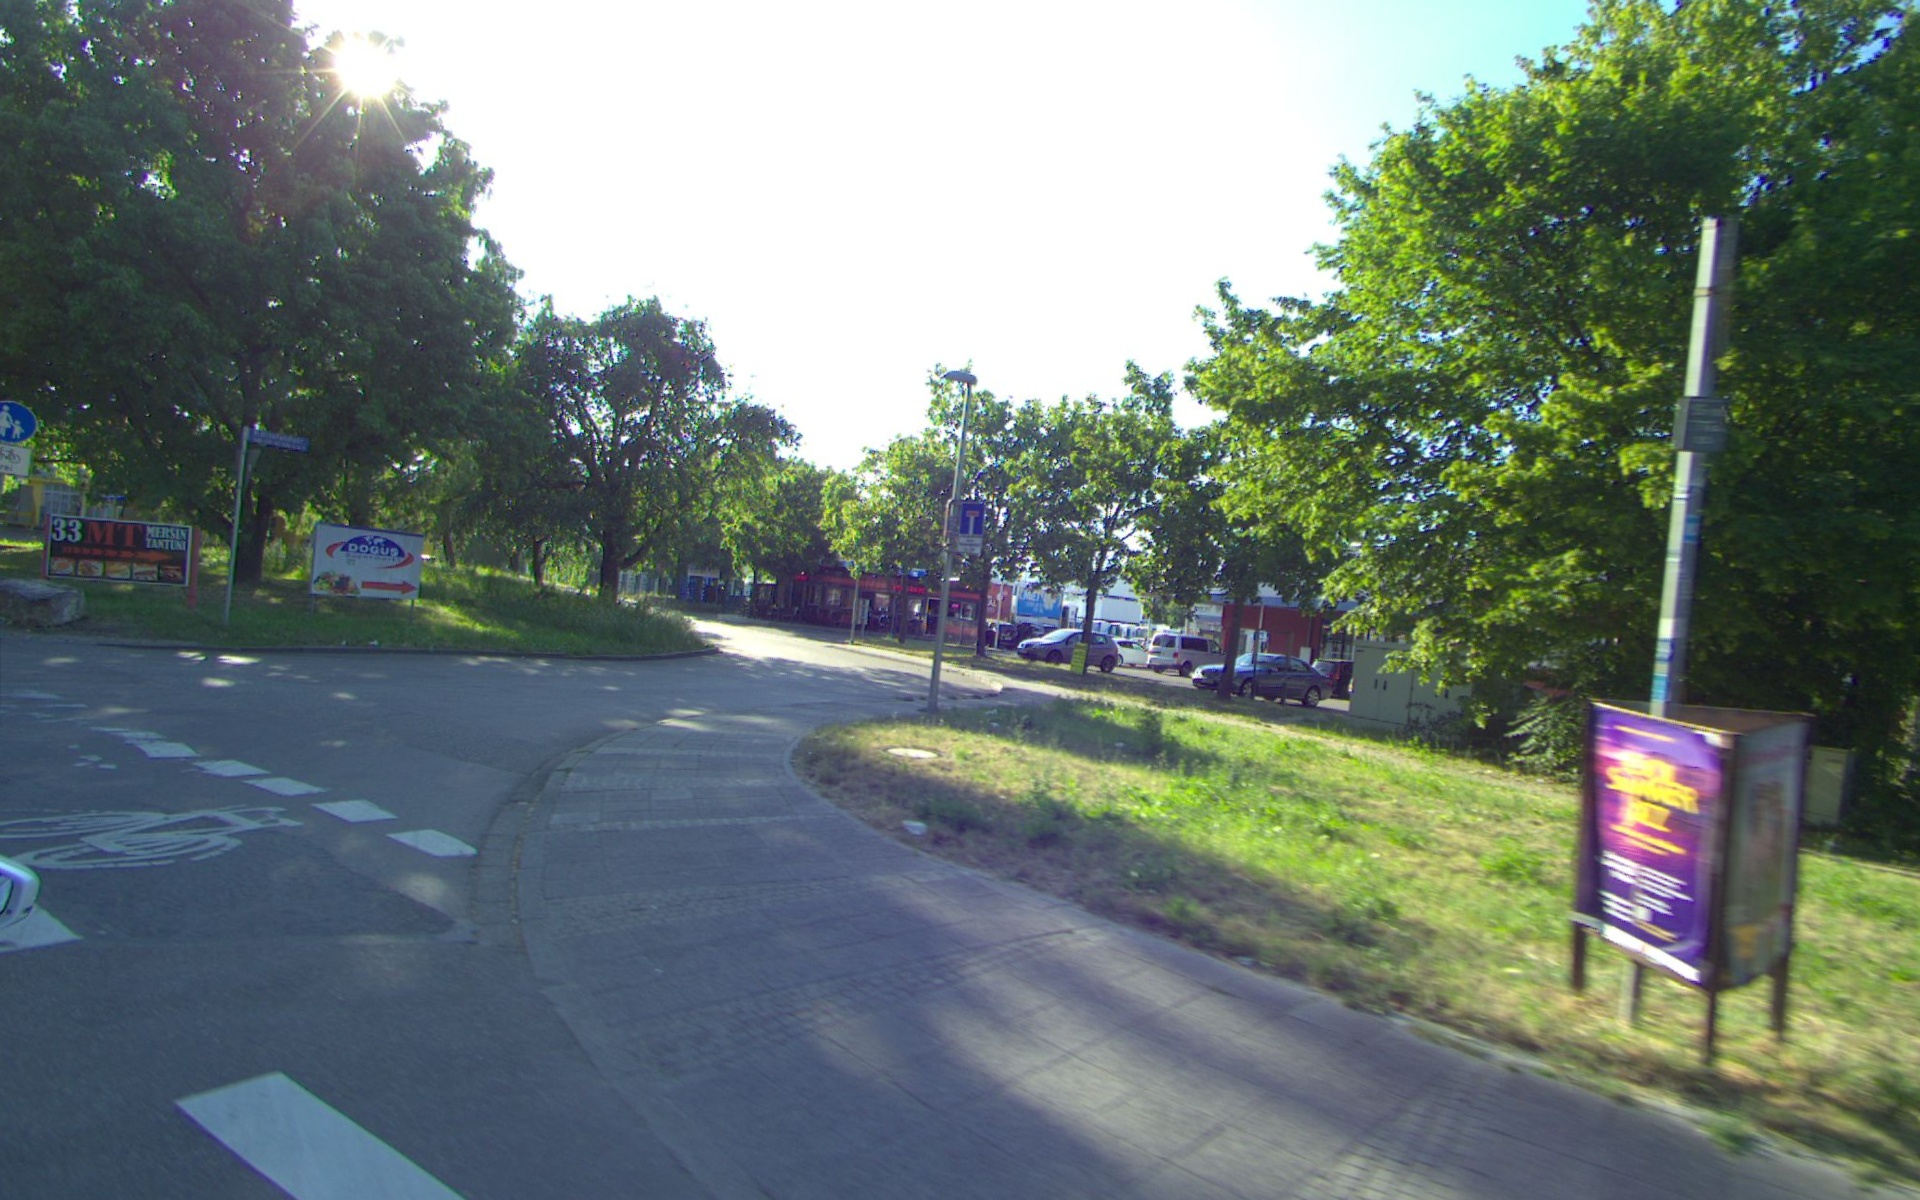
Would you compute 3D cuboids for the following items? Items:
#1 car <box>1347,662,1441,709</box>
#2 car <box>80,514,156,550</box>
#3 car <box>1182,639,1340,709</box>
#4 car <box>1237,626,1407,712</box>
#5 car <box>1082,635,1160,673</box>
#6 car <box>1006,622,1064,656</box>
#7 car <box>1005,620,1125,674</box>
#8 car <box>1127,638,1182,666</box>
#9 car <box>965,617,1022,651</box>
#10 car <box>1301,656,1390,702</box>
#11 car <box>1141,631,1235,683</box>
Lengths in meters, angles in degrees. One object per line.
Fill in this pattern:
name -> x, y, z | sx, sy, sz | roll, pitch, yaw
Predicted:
car -> 17.486, 3.458, 40.496 | 3.518, 1.442, 1.672 | 9, -2, -32
car -> -51.315, -4.147, 61.297 | 4.320, 1.750, 1.816 | 5, 0, 25
car -> 9.013, 2.222, 30.032 | 4.620, 1.492, 1.775 | 9, -2, -31
car -> 9.550, 1.838, 26.414 | 4.397, 1.841, 1.693 | 6, 0, -31
car -> 8.643, 2.897, 53.952 | 3.906, 1.498, 1.672 | 9, -2, -32
car -> 4.668, 2.409, 62.870 | 1.682, 1.708, 3.840 | 8, -2, -27
car -> 4.010, 1.782, 38.204 | 4.151, 1.492, 1.776 | 9, -2, -29
car -> 13.216, 3.536, 68.544 | 1.683, 1.479, 3.624 | 8, -2, -27
car -> 1.998, 2.066, 61.610 | 1.682, 1.708, 3.840 | 8, -2, -27
car -> 16.559, 3.385, 43.218 | 3.518, 1.519, 1.672 | 9, -2, -32
car -> 11.193, 2.815, 49.281 | 4.612, 1.997, 1.873 | 9, -2, -38
